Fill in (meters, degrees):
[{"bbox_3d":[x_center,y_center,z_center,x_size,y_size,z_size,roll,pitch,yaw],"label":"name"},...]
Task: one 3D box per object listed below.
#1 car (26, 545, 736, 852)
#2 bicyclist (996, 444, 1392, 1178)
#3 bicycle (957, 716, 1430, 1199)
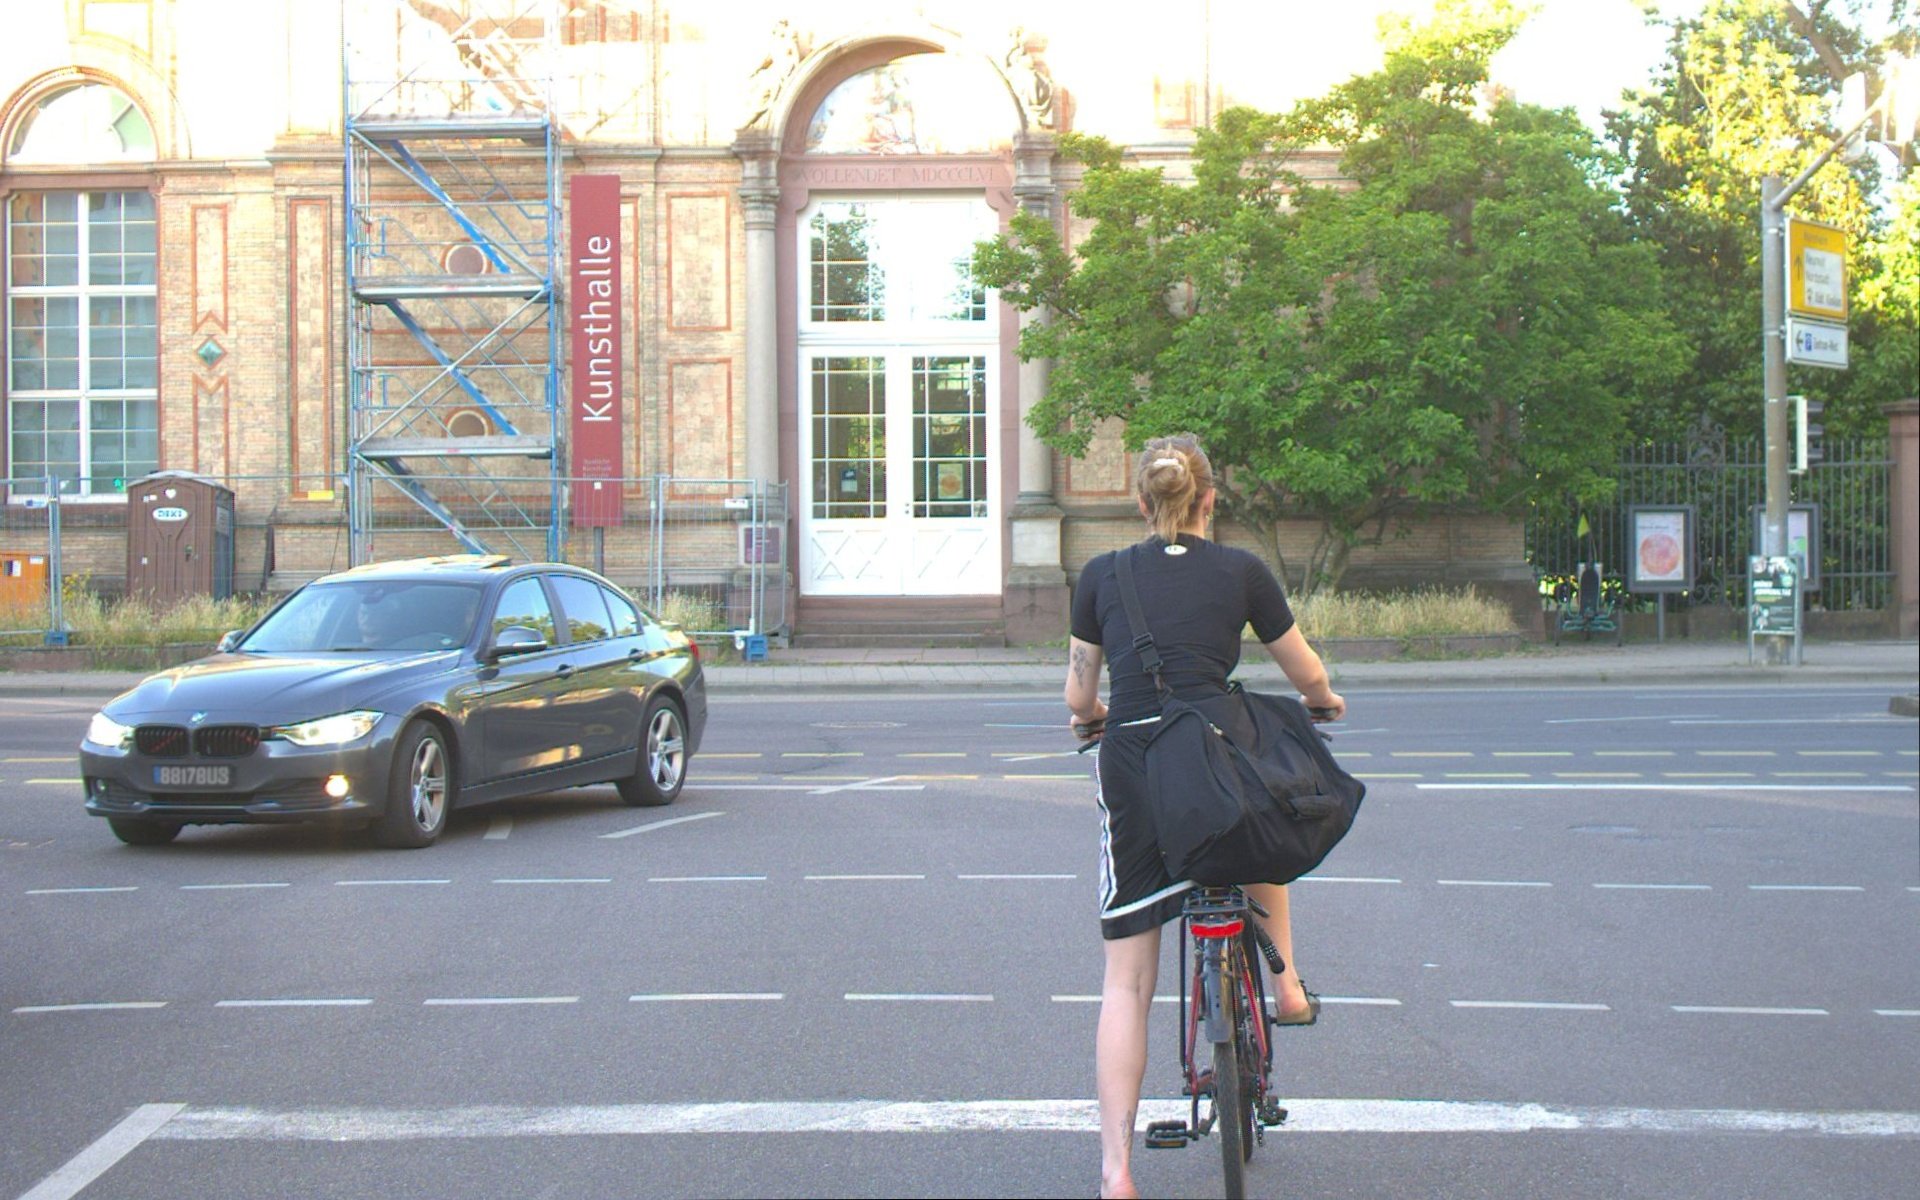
[{"bbox_3d":[-2.991,0.454,18.819,1.784,1.454,4.418,-1,1,21],"label":"car"},{"bbox_3d":[0.530,0.437,7.516,0.716,1.497,0.850,-1,-1,14],"label":"bicyclist"},{"bbox_3d":[0.590,0.862,7.768,0.712,1.152,2.067,-1,-1,14],"label":"bicycle"}]
